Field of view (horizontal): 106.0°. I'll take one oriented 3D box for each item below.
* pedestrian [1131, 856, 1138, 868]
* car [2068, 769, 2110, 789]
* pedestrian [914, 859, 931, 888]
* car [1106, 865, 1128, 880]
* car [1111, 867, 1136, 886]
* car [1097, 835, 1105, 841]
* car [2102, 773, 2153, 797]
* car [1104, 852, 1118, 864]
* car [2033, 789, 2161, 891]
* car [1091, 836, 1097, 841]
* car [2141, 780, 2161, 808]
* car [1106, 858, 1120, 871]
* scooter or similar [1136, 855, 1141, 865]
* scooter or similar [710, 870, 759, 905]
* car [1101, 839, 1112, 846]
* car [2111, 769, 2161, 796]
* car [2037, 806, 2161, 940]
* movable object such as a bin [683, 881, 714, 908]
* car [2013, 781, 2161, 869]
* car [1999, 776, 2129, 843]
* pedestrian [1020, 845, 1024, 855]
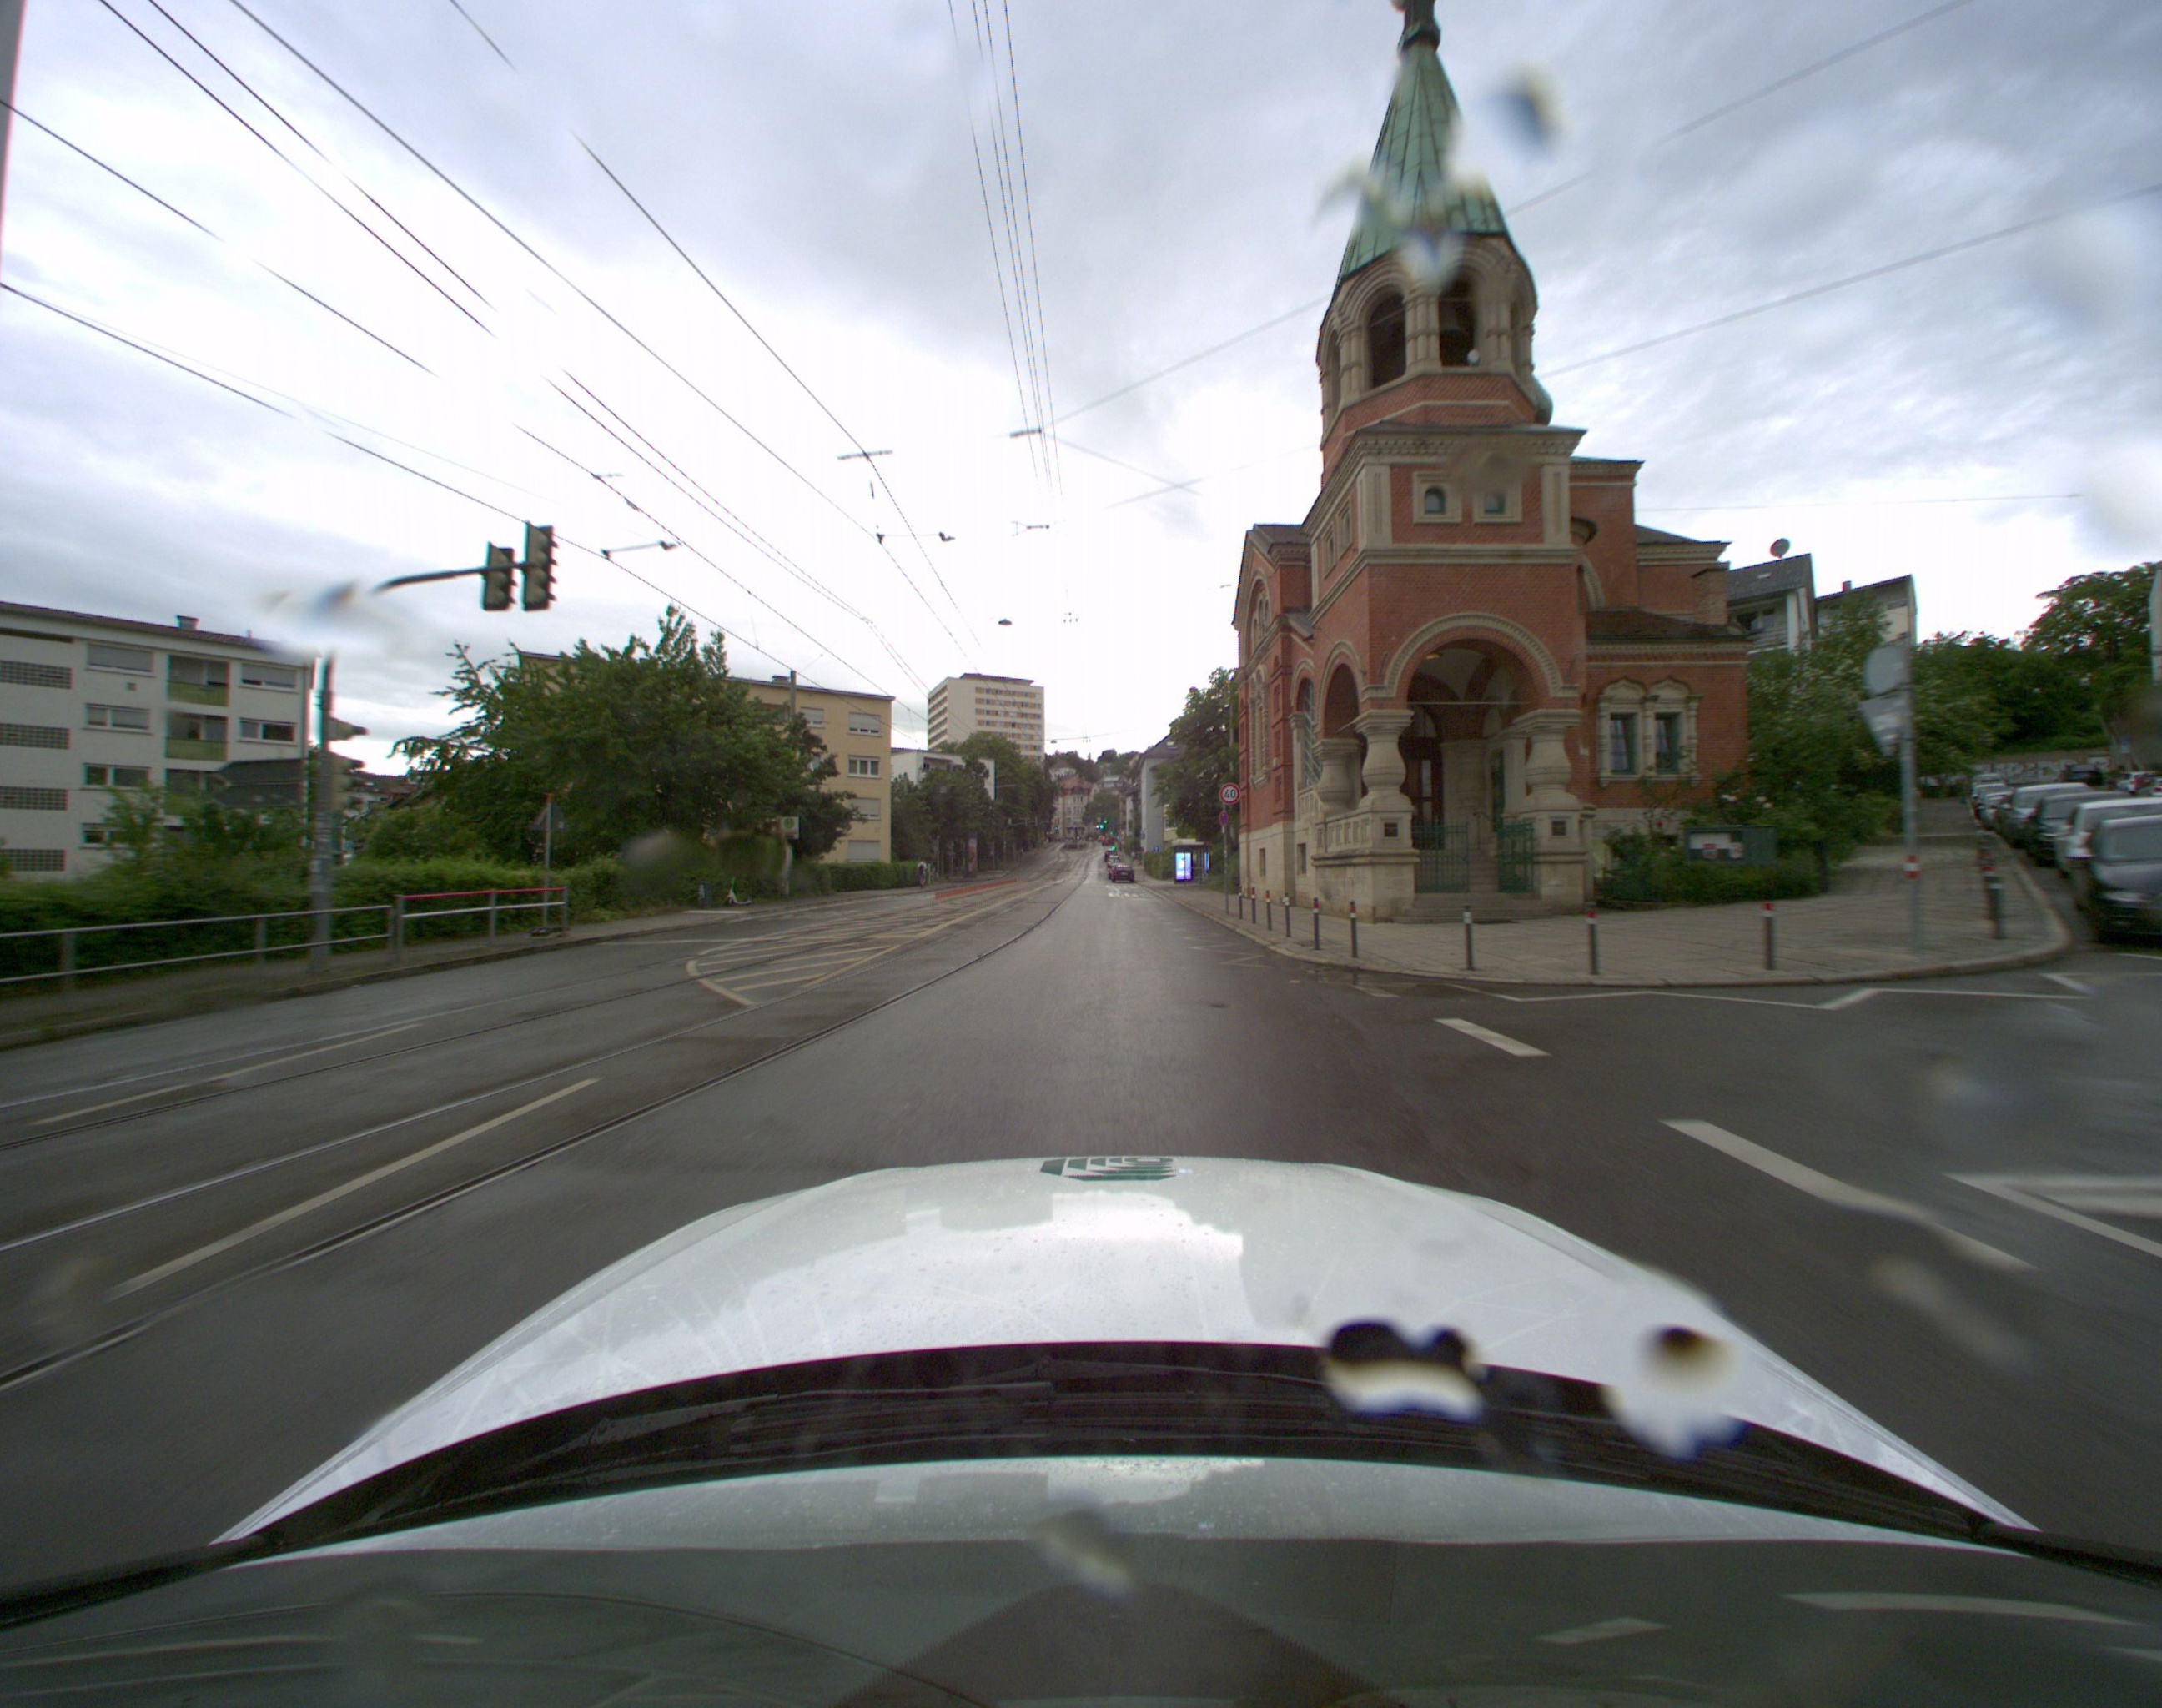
[{"bbox_3d":[7.584,1.140,115.618,0.879,1.583,0.802,-1,3,3],"label":"pedestrian"},{"bbox_3d":[78.572,-5.844,63.523,4.023,1.406,1.807,-5,2,-42],"label":"car"},{"bbox_3d":[-10.209,1.251,52.467,0.917,1.846,1.016,2,-2,-3],"label":"pedestrian"},{"bbox_3d":[3.486,1.802,79.387,1.934,1.464,4.204,1,-1,-1],"label":"car"},{"bbox_3d":[3.498,1.824,67.906,1.852,1.487,4.644,1,-1,0],"label":"car"},{"bbox_3d":[5.604,-4.571,229.197,1.900,1.641,4.690,1,1,0],"label":"car"},{"bbox_3d":[72.378,-4.779,56.383,4.024,1.405,1.807,-7,4,-43],"label":"car"},{"bbox_3d":[4.485,0.587,120.723,1.900,1.641,4.690,1,1,0],"label":"car"},{"bbox_3d":[18.167,-0.299,14.110,3.952,1.495,1.923,-5,0,-43],"label":"car"},{"bbox_3d":[4.165,-4.918,257.309,1.900,1.641,4.690,1,1,0],"label":"car"},{"bbox_3d":[58.088,-3.228,43.384,4.021,1.406,1.807,-4,2,-40],"label":"car"},{"bbox_3d":[4.109,1.316,104.321,1.699,1.433,4.102,1,1,0],"label":"car"},{"bbox_3d":[7.452,0.747,105.037,0.572,1.249,1.613,0,4,6],"label":"scooter or similar"},{"bbox_3d":[-12.324,1.191,28.980,0.567,1.184,1.609,0,-2,25],"label":"scooter or similar"},{"bbox_3d":[6.206,-2.747,195.292,1.789,1.645,4.014,1,-1,13],"label":"car"},{"bbox_3d":[69.177,-4.630,53.306,4.022,1.406,1.807,0,-1,-43],"label":"car"},{"bbox_3d":[14.265,0.137,10.689,4.505,1.368,1.918,-5,0,-43],"label":"car"},{"bbox_3d":[-12.686,1.349,27.028,0.685,0.882,0.759,1,-2,-4],"label":"movable object such as a bin"},{"bbox_3d":[21.820,-0.651,17.610,3.652,1.443,1.918,-7,-1,-43],"label":"car"},{"bbox_3d":[26.123,-1.211,21.771,3.868,1.514,1.919,-6,2,-43],"label":"car"},{"bbox_3d":[-9.794,-0.688,134.918,0.581,1.600,0.868,2,0,-3],"label":"pedestrian"}]
